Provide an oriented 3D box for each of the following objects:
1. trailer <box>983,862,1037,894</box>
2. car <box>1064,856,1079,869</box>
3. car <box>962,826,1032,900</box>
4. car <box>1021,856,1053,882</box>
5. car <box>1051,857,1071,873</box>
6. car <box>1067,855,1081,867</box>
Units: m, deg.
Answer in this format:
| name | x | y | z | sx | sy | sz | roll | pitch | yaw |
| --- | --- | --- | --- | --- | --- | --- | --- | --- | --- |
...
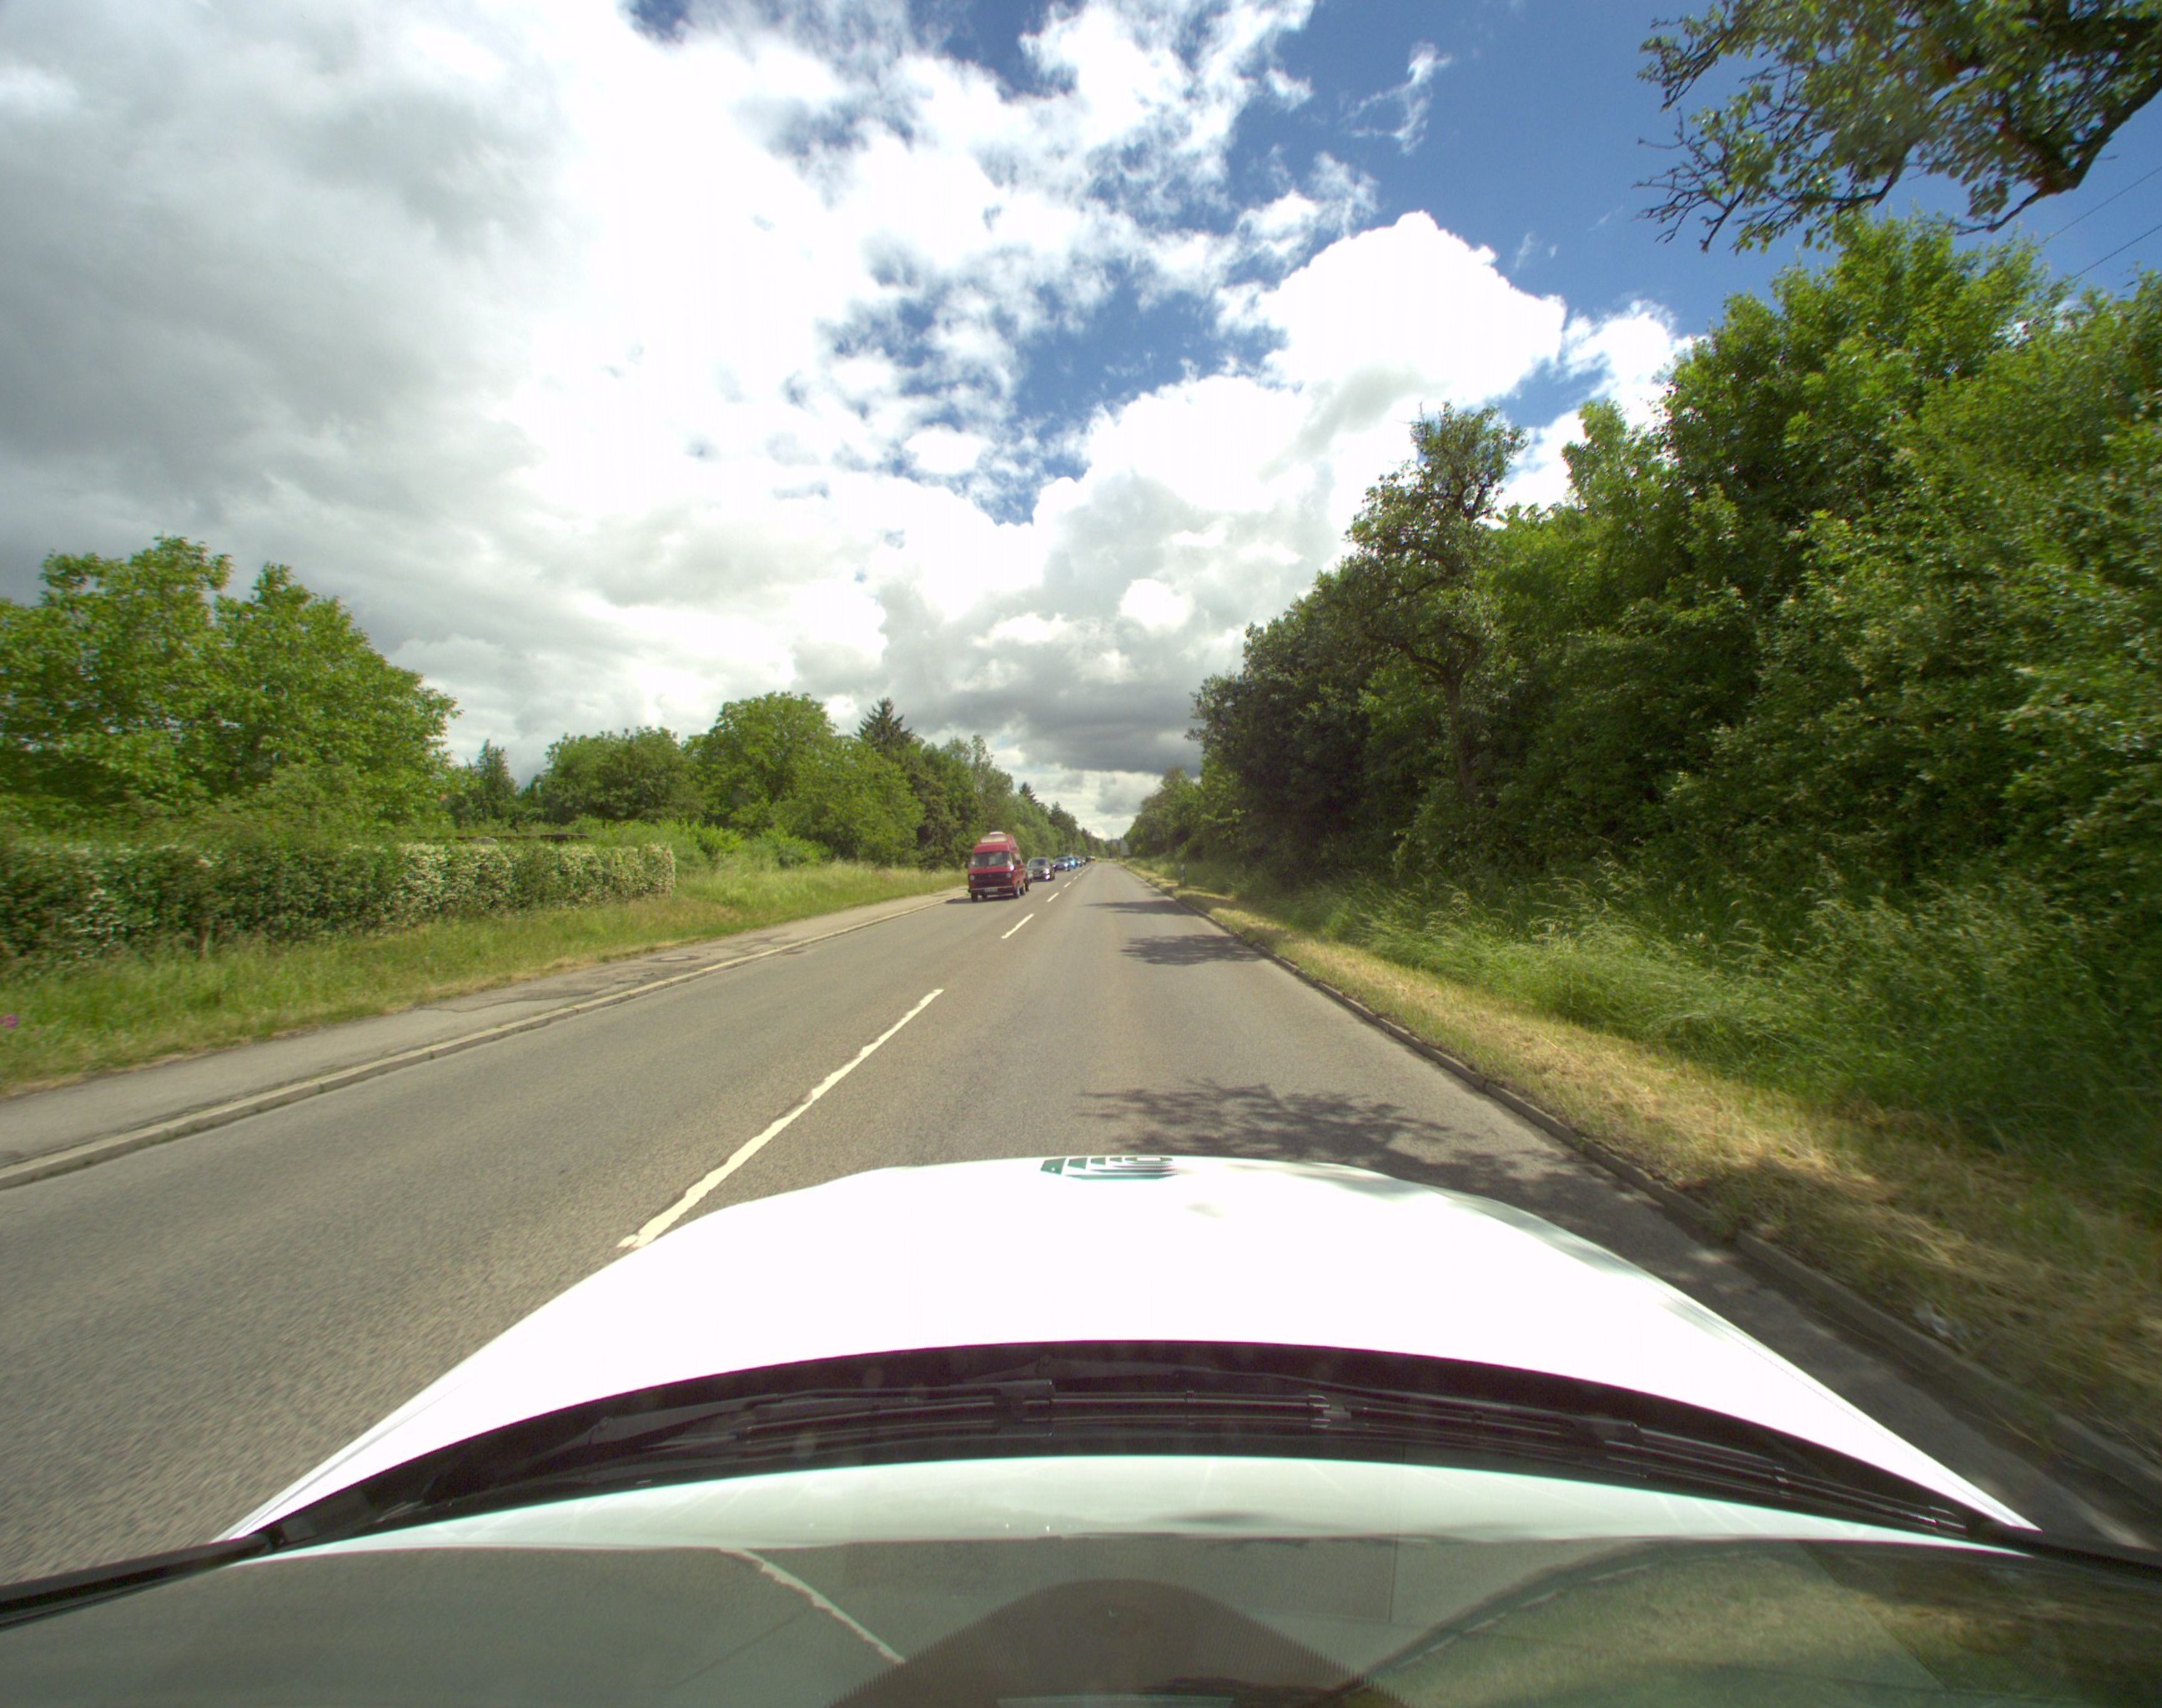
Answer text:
| name | x | y | z | sx | sy | sz | roll | pitch | yaw |
| --- | --- | --- | --- | --- | --- | --- | --- | --- | --- |
| trailer | -3.139 | 1.051 | 36.695 | 1.885 | 1.200 | 3.918 | -4 | 0 | 1 |
| car | -1.179 | 1.065 | 100.769 | 1.778 | 1.446 | 2.966 | -4 | 0 | 0 |
| car | -3.199 | 0.332 | 31.860 | 1.962 | 2.550 | 4.726 | -4 | 0 | 1 |
| car | -2.758 | 0.921 | 51.770 | 1.710 | 1.471 | 4.000 | -5 | 0 | 1 |
| car | -2.057 | 1.110 | 84.607 | 1.778 | 1.446 | 4.452 | -4 | 0 | 0 |
| car | -0.974 | 0.966 | 116.655 | 1.878 | 1.491 | 4.717 | -4 | 0 | 0 |
